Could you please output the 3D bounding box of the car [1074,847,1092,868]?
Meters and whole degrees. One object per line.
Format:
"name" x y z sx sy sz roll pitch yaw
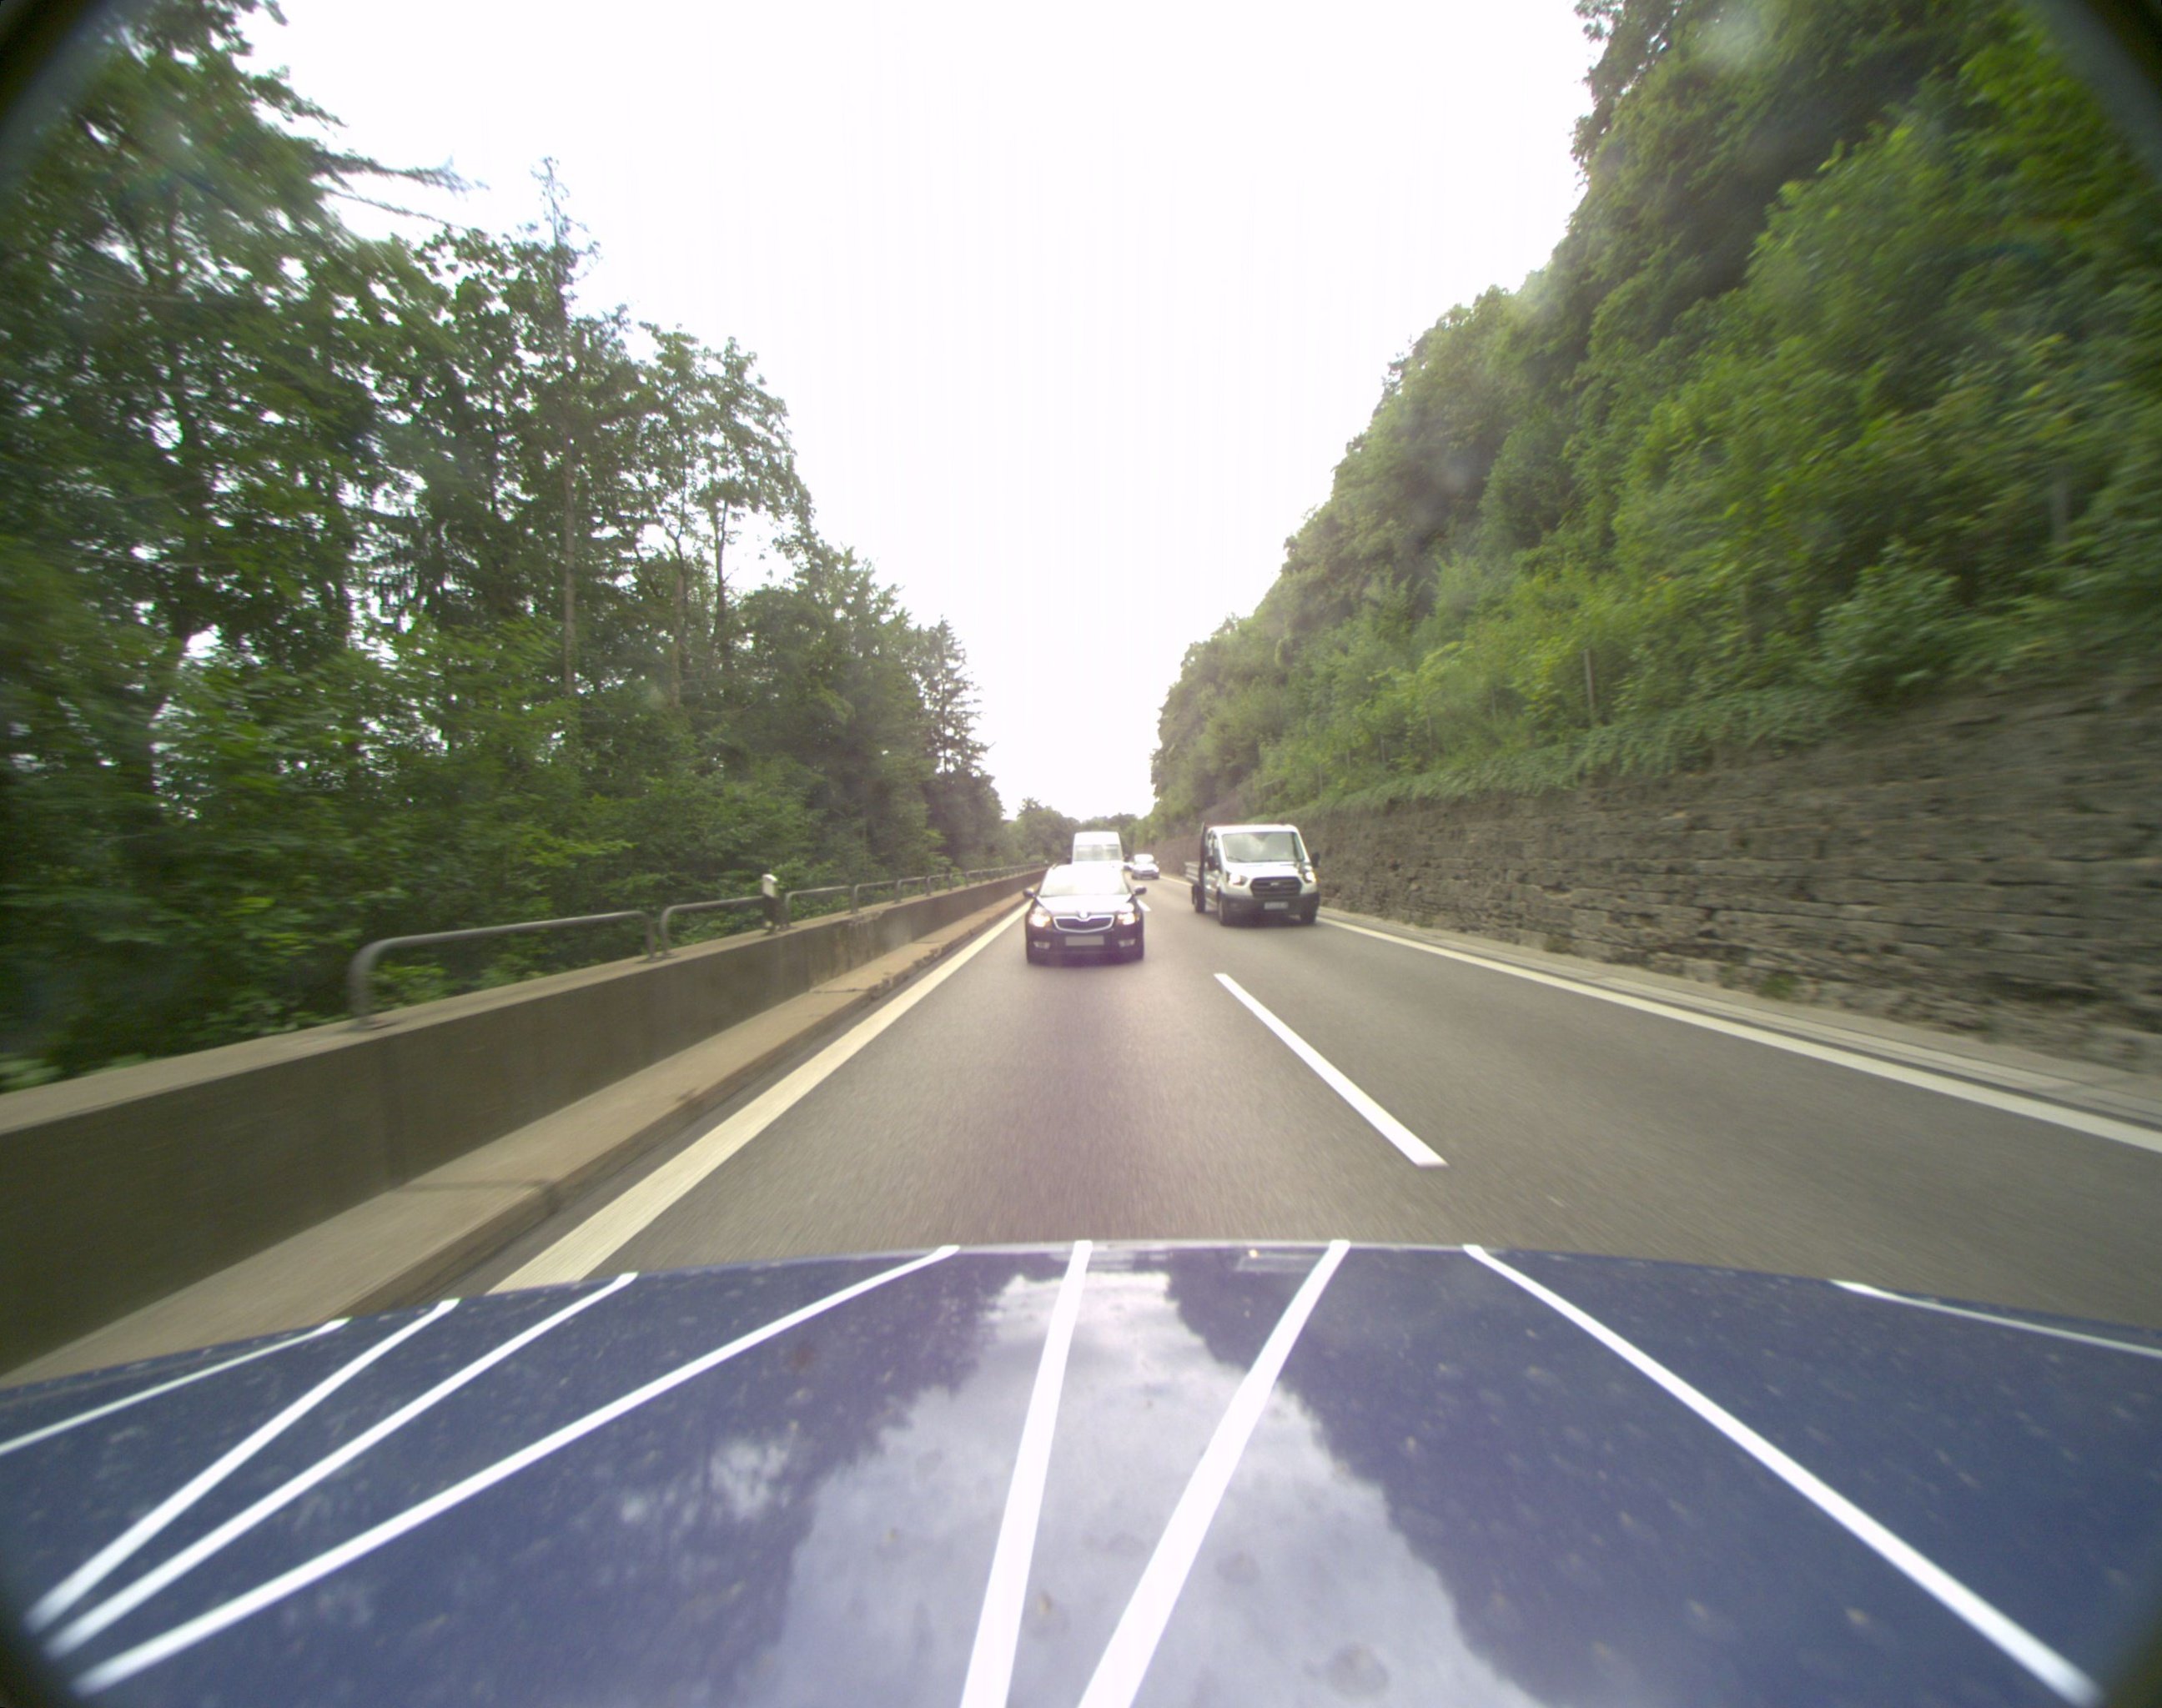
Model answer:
"car" 0.249 0.374 92.339 1.998 2.396 4.000 -2 0 1

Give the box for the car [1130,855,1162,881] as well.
"car" 4.318 0.884 50.904 1.711 1.568 4.602 -2 0 1

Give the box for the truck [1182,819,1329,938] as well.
"truck" 3.875 0.476 18.261 1.998 2.266 6.585 -2 0 0

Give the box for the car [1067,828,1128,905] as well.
"car" 0.689 0.385 28.347 1.998 2.550 5.919 -1 1 3

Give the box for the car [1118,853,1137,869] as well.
"car" 4.945 0.763 80.745 1.711 1.568 4.602 -2 0 1

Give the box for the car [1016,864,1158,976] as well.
"car" 0.042 0.957 13.434 1.913 1.391 5.696 -3 0 -1
